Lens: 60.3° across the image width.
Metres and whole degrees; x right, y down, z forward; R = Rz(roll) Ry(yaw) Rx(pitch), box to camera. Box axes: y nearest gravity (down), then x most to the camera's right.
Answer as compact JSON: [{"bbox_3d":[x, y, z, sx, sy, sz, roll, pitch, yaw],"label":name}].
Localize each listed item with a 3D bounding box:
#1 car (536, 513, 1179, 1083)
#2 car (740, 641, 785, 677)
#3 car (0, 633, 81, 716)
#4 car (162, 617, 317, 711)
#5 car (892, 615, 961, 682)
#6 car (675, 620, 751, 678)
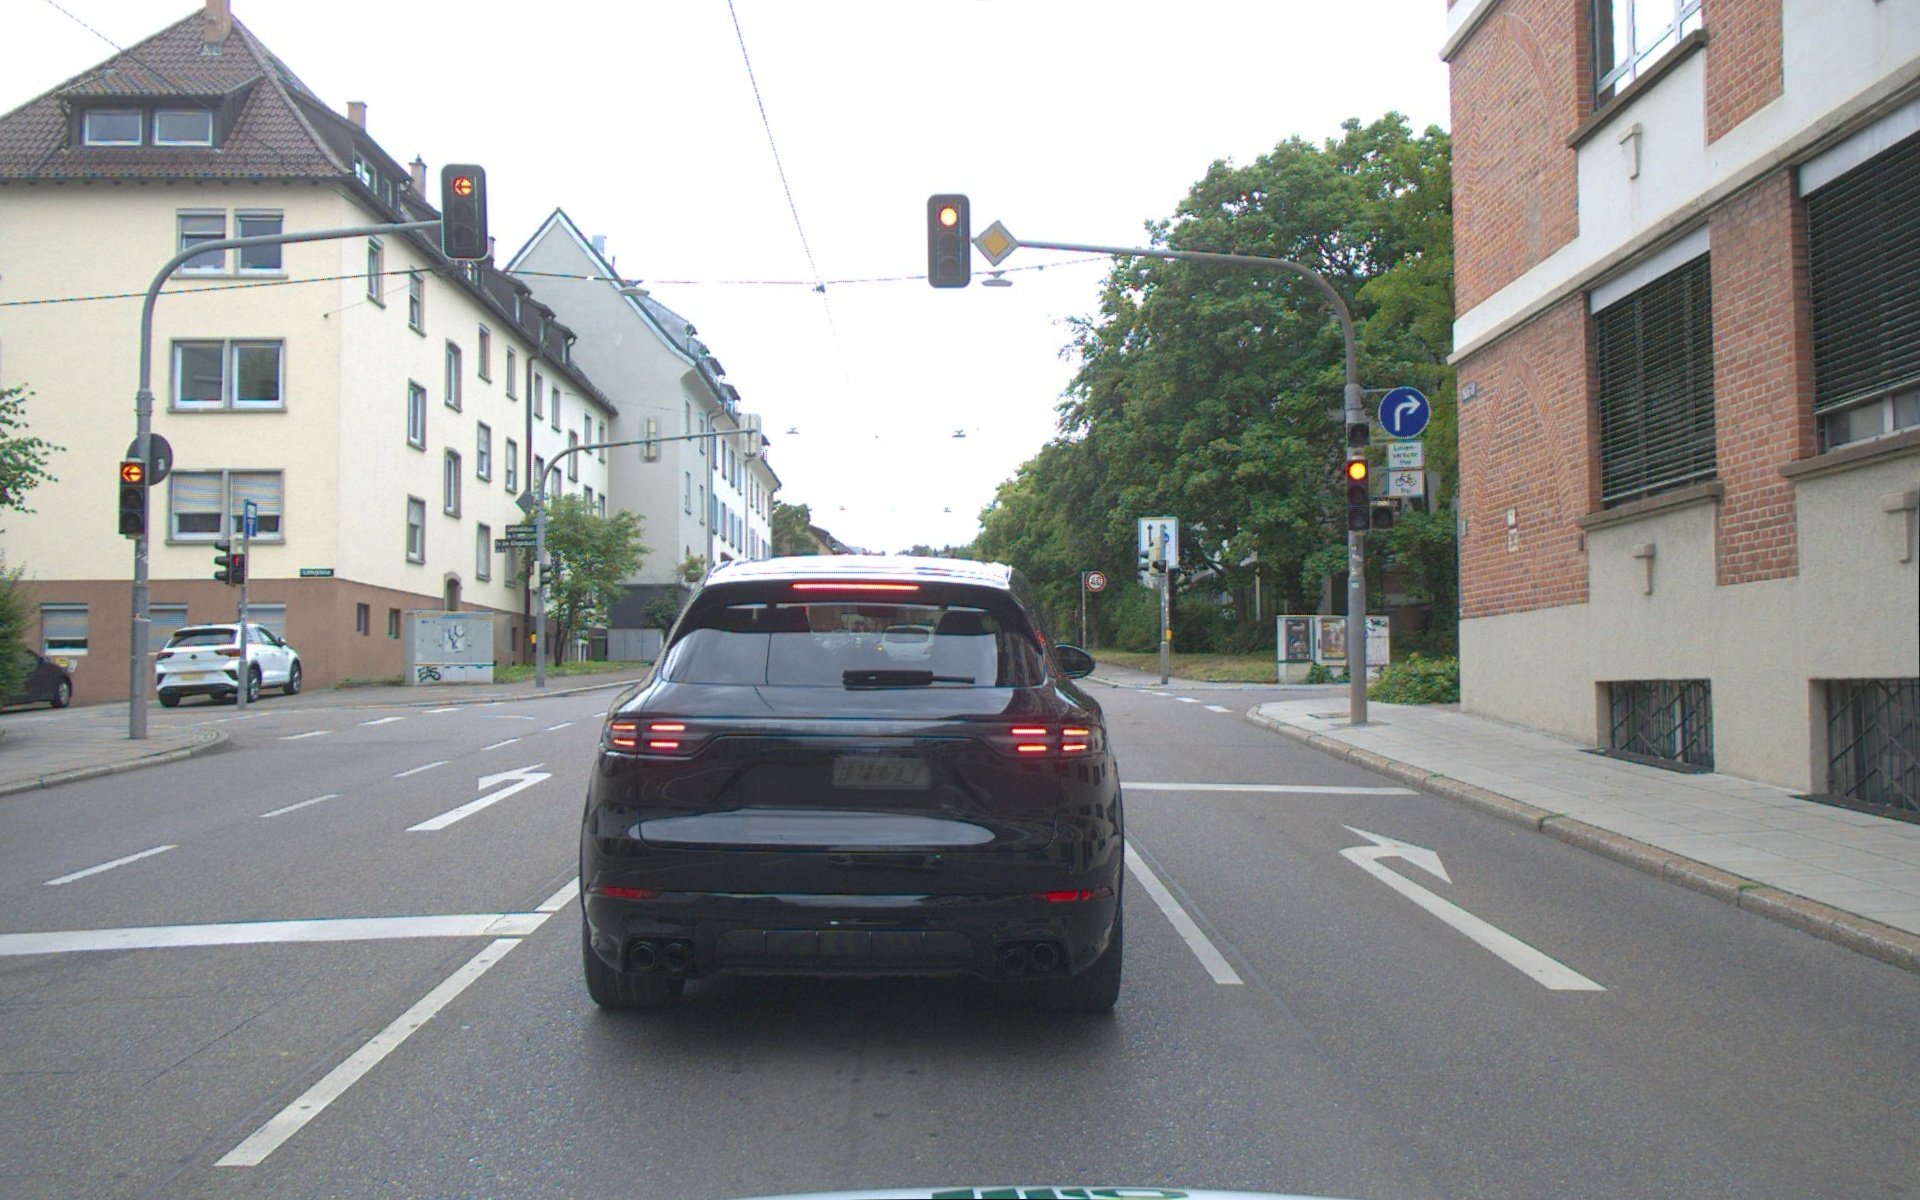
[{"bbox_3d":[-0.339,0.621,7.097,1.953,1.726,3.999,1,0,-1],"label":"car"},{"bbox_3d":[-8.260,2.456,69.382,1.637,1.386,3.997,0,0,-4],"label":"car"},{"bbox_3d":[-19.738,1.544,33.500,1.636,1.573,4.100,-3,0,-1],"label":"car"},{"bbox_3d":[-14.608,1.250,33.757,1.638,1.691,3.995,-3,0,-5],"label":"car"},{"bbox_3d":[-0.889,1.199,42.183,1.654,1.579,3.887,1,0,-2],"label":"car"},{"bbox_3d":[-7.358,1.445,49.629,1.630,1.545,3.739,-4,0,0],"label":"car"}]
